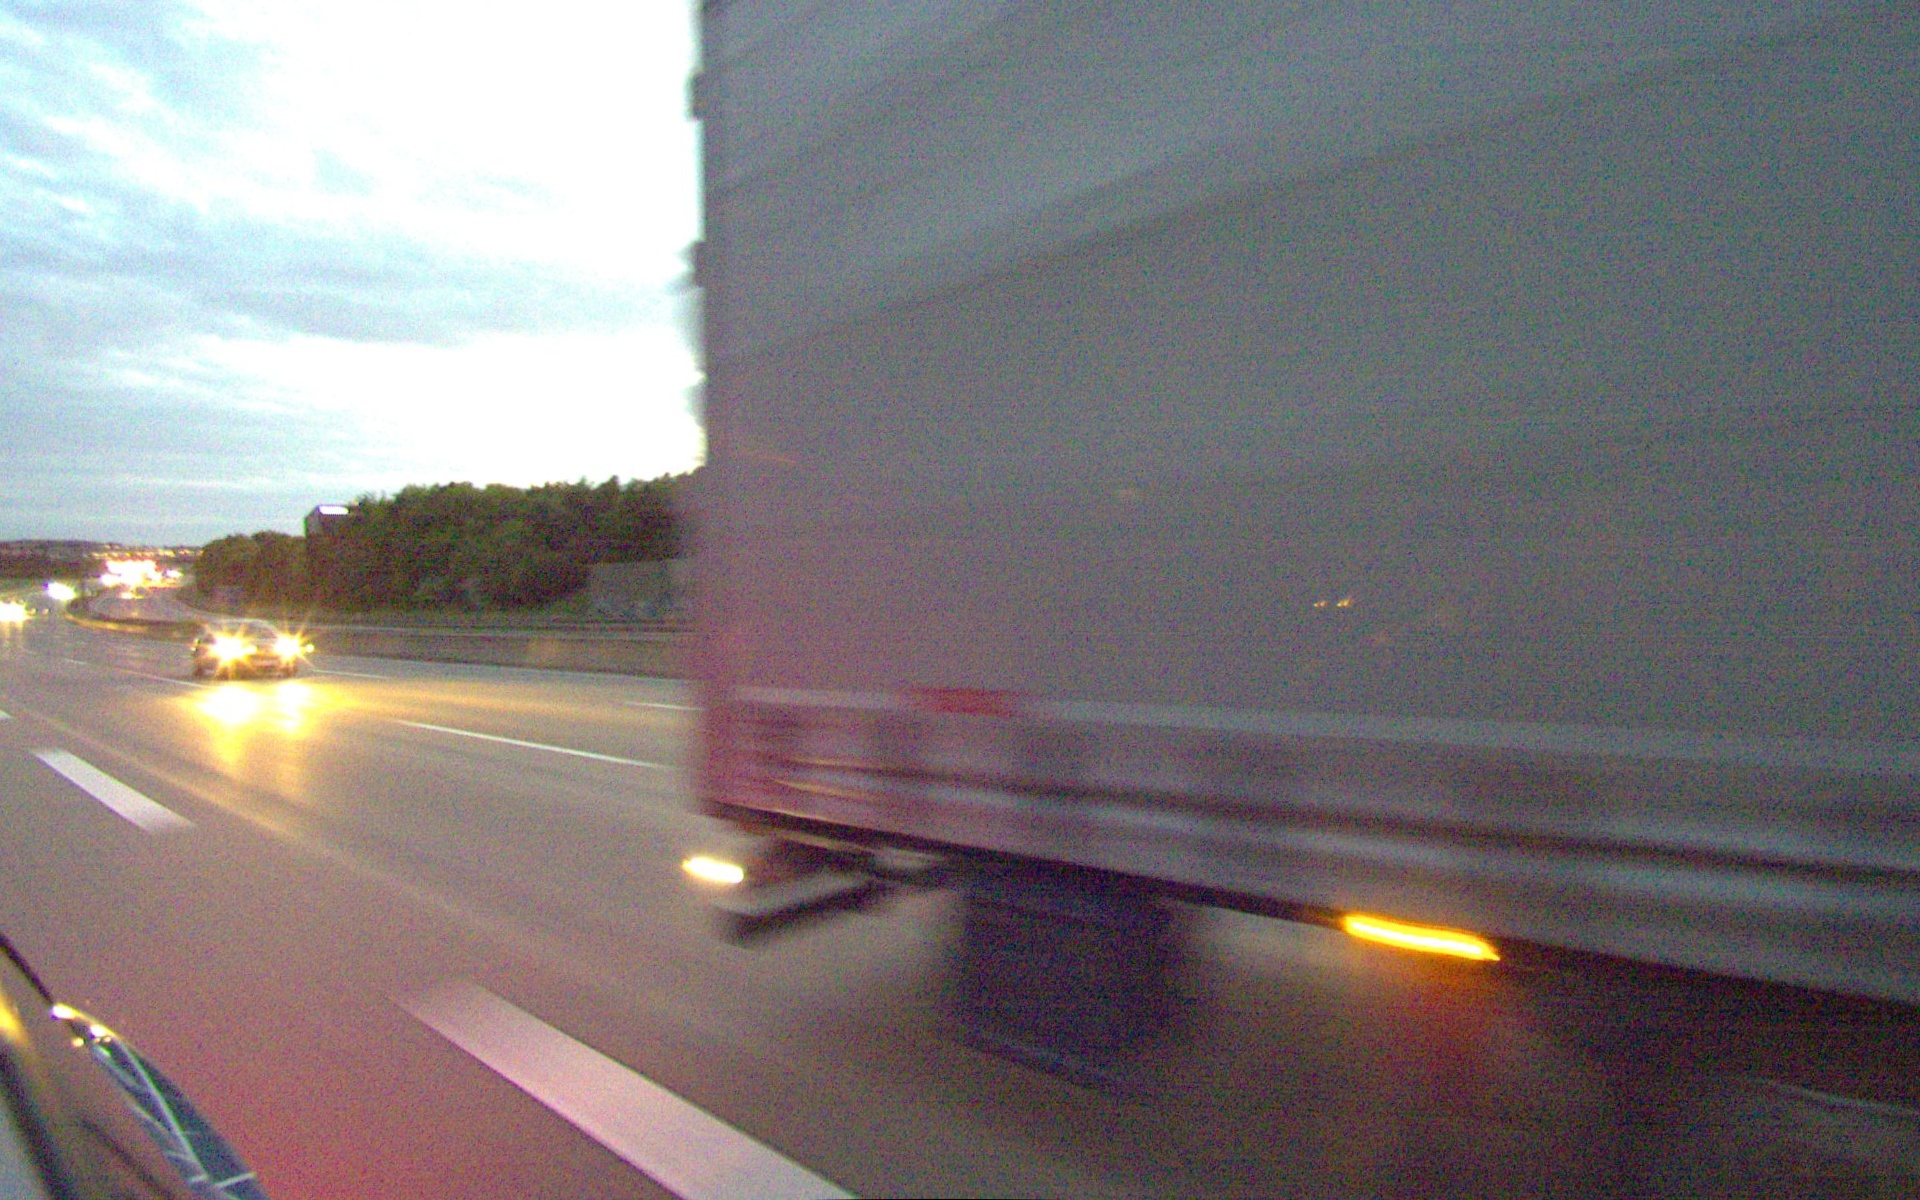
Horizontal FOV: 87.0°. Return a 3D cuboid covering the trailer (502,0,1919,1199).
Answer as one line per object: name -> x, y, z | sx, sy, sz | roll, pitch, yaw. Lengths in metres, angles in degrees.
trailer -> 5.025, -0.721, 0.448 | 15.053, 4.147, 3.514 | -2, -1, 41

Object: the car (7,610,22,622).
car -> -145.427, 2.408, 155.685 | 1.629, 1.676, 3.779 | -1, 3, -43

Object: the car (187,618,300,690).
car -> -18.543, 1.325, 26.145 | 4.002, 1.490, 1.694 | 2, 3, 44
